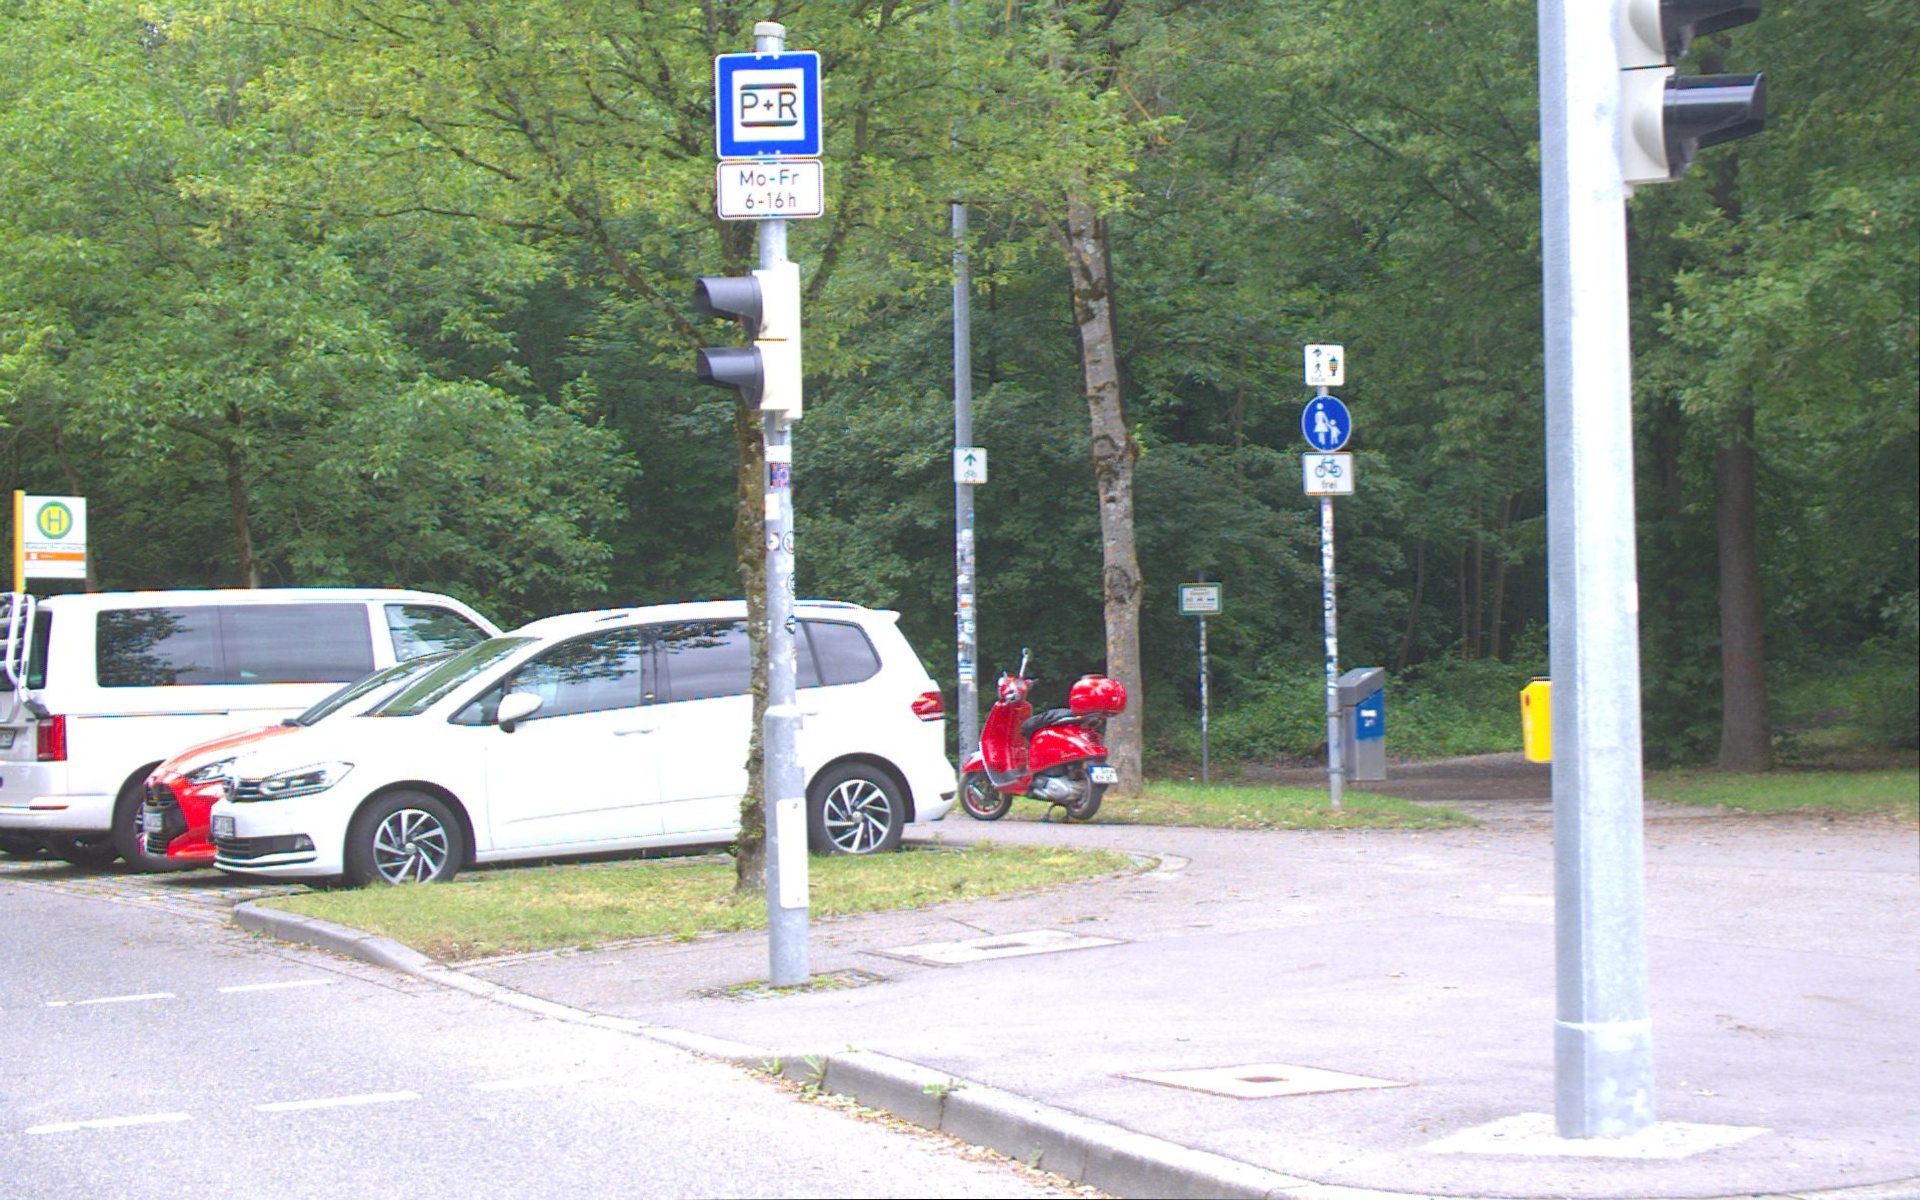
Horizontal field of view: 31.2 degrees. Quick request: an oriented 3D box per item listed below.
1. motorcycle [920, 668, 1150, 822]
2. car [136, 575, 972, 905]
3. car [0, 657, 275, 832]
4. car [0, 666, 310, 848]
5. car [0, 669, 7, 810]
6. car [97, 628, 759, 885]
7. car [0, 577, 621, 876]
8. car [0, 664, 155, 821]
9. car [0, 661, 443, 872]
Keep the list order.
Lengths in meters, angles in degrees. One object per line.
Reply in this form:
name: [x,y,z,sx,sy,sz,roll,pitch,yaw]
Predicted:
motorcycle: [0.576,1.130,27.236,0.675,1.156,2.011,-1,-1,-38]
car: [-2.468,0.804,20.889,4.519,1.687,2.165,-2,-2,-26]
car: [-8.939,1.361,31.652,4.772,1.471,1.852,-2,0,-32]
car: [-7.837,1.362,29.549,3.987,1.478,1.877,0,-3,-33]
car: [-12.223,1.561,35.774,3.988,1.478,1.922,-2,-1,-35]
car: [-3.583,1.000,23.104,3.996,1.550,1.947,0,-1,-25]
car: [-5.050,0.877,25.313,4.648,2.014,2.083,0,-1,-32]
car: [-10.354,1.472,33.951,4.229,1.475,1.919,-2,-2,-35]
car: [-6.285,1.292,27.805,3.722,1.549,1.846,0,0,-33]
